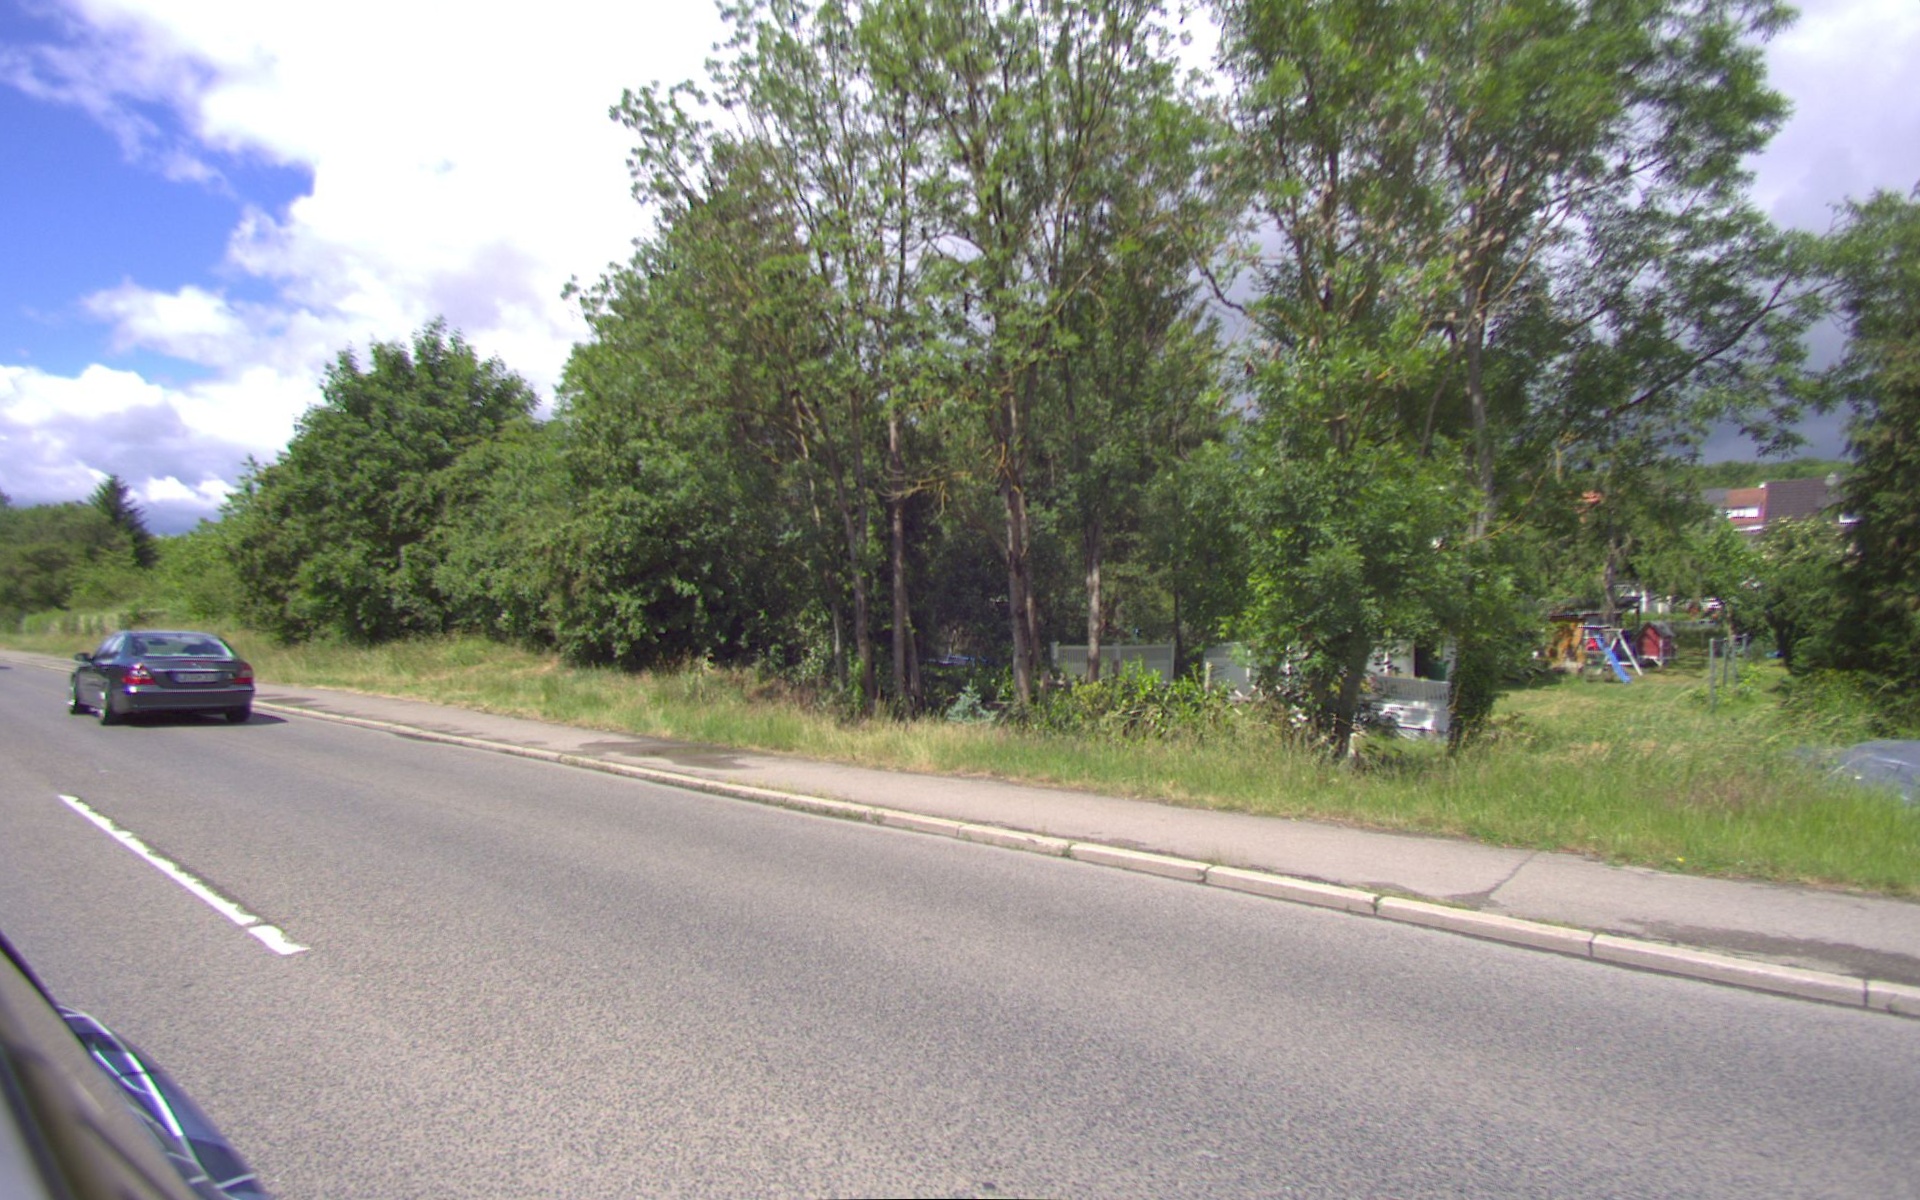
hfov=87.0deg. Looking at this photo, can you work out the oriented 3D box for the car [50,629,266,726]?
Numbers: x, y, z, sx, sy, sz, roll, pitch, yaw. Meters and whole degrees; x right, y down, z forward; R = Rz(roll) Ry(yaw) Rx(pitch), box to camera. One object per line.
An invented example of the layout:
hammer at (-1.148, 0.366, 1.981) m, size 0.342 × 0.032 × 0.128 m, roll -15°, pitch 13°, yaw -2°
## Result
car at (-12.901, 1.173, 16.171) m, size 4.618 × 1.344 × 1.766 m, roll -2°, pitch -4°, yaw 40°
